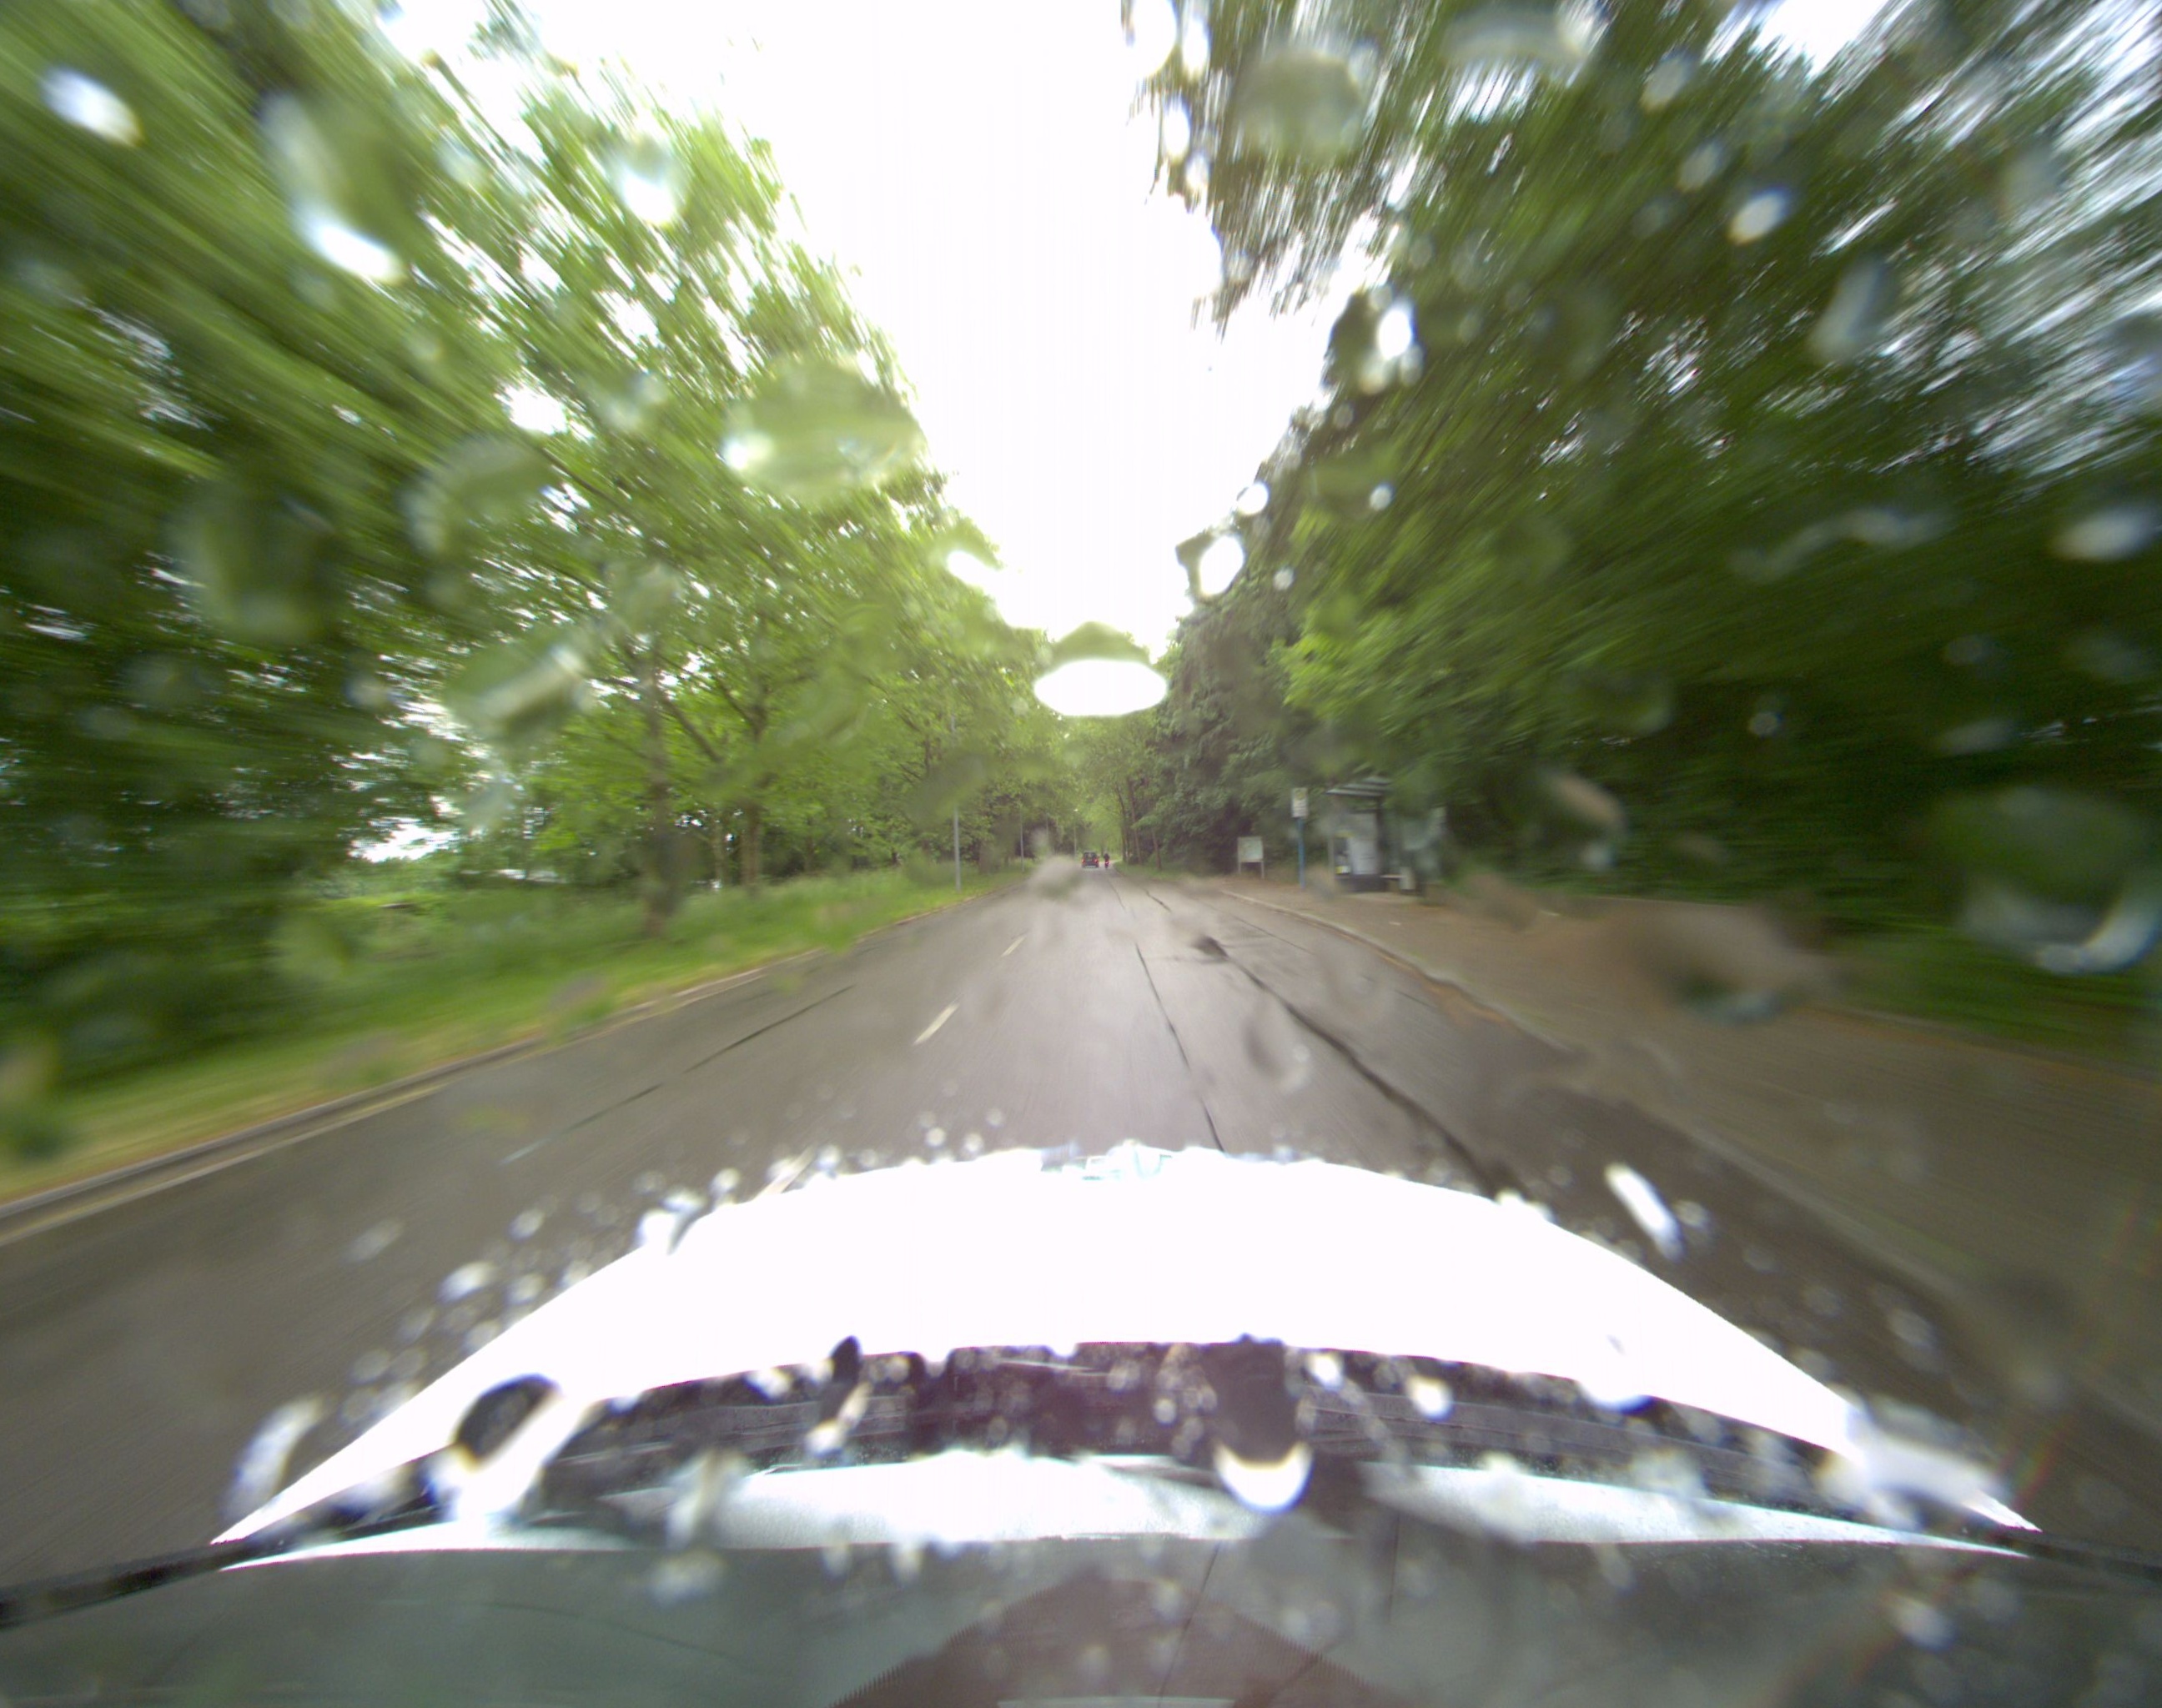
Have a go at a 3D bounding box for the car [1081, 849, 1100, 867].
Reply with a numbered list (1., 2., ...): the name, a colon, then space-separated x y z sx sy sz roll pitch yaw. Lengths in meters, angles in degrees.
1. car: 1.013 0.486 92.528 1.980 1.926 3.998 -2 0 -1

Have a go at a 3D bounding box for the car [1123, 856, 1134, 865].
1. car: 9.472 1.356 163.697 1.986 1.816 4.000 -1 -1 1

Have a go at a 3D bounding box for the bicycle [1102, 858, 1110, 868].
1. bicycle: 2.459 0.840 80.424 0.726 0.974 2.175 -1 0 4

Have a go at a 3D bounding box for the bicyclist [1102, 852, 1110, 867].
1. bicyclist: 2.461 0.540 80.484 0.726 1.411 0.974 -1 -1 4
